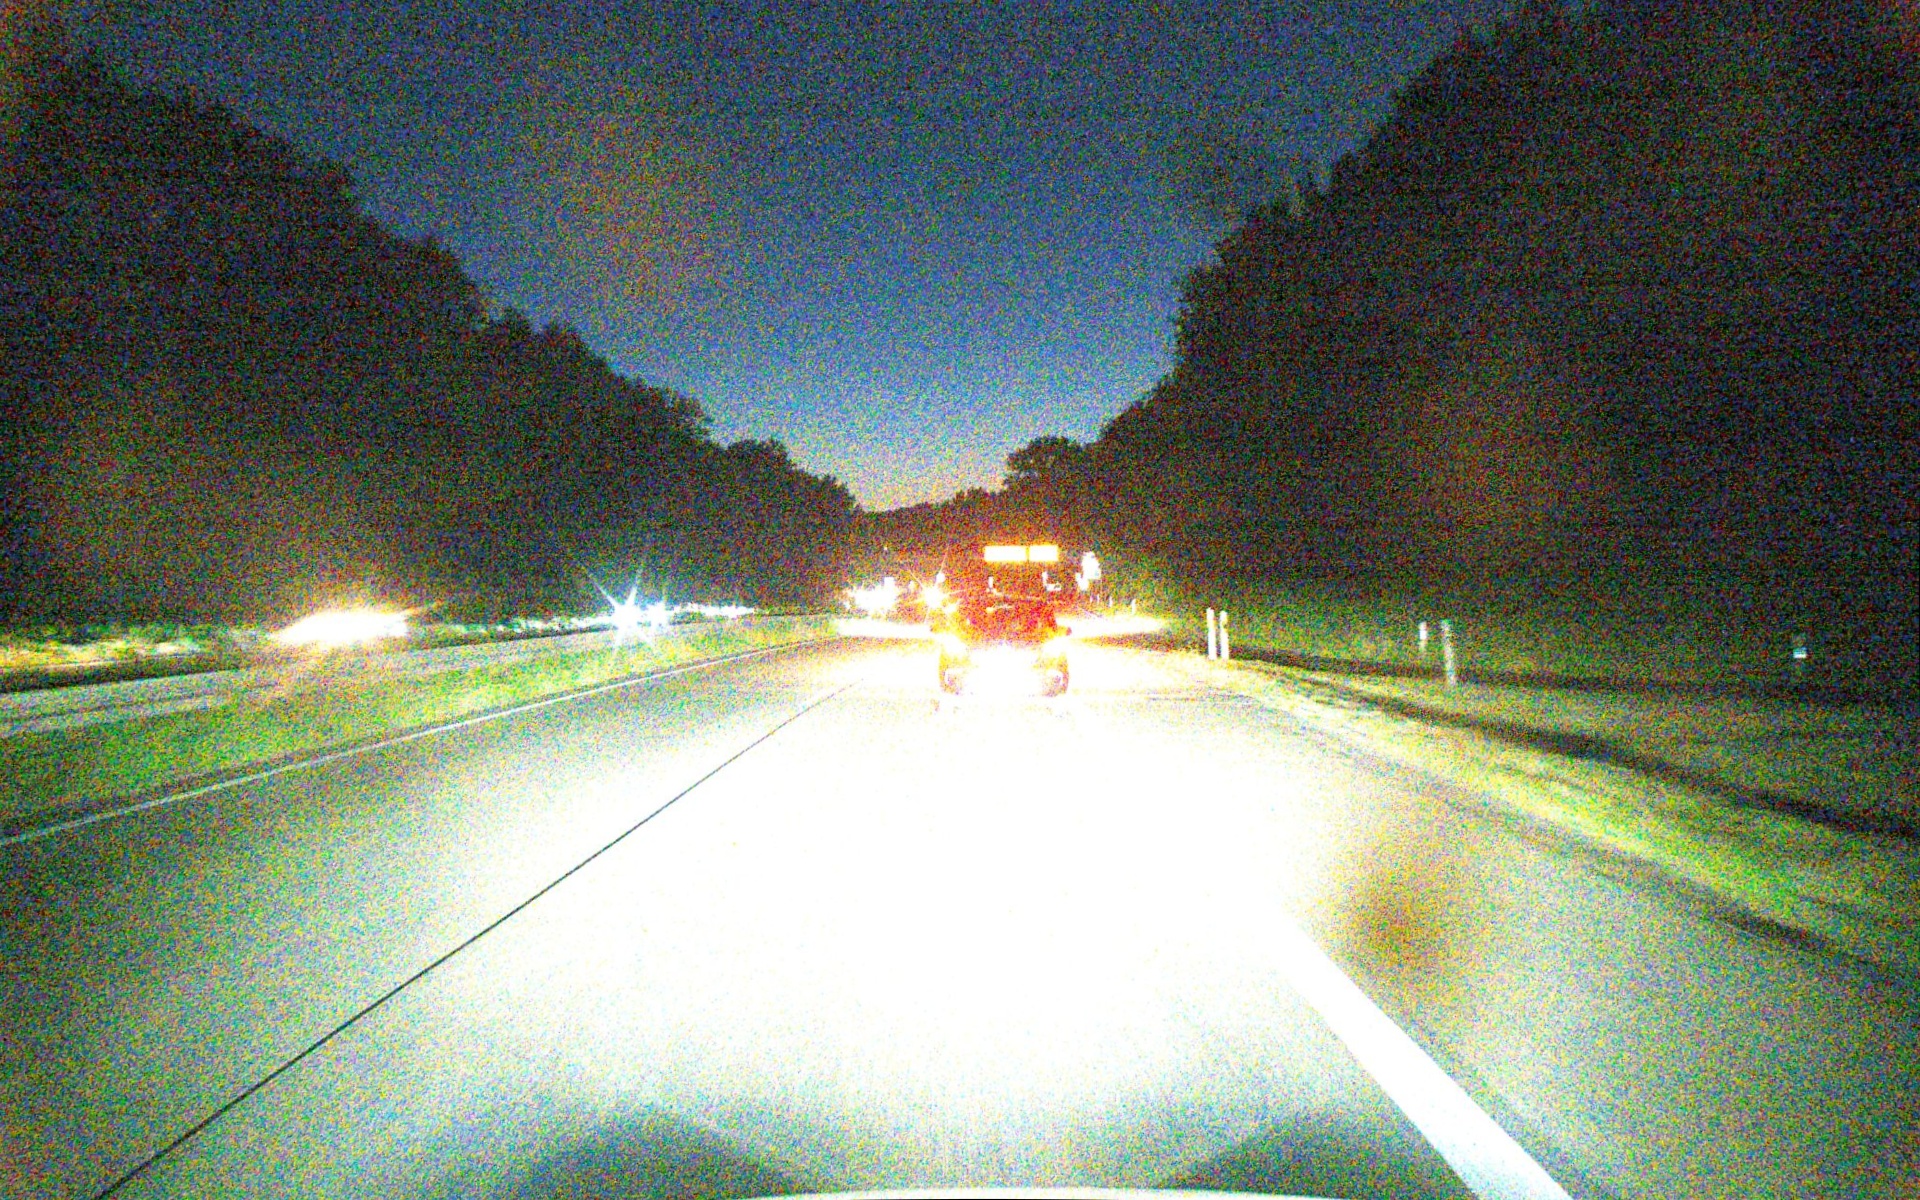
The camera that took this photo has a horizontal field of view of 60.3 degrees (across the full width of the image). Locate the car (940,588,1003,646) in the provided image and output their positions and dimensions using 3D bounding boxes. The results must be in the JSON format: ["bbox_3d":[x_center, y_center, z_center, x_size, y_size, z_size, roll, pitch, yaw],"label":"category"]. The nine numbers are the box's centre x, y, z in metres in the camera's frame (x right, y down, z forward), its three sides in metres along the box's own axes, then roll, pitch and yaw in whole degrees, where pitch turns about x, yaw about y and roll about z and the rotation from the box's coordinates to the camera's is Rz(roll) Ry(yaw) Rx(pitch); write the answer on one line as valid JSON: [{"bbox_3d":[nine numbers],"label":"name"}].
[{"bbox_3d":[0.366,0.496,51.285,1.867,1.728,4.001,0,1,1],"label":"car"}]

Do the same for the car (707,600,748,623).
[{"bbox_3d":[-14.730,0.718,104.928,1.734,1.436,4.845,1,0,2],"label":"car"}]

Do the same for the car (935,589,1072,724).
[{"bbox_3d":[0.554,0.654,21.316,1.555,1.534,4.001,2,0,1],"label":"car"}]

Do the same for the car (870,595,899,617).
[{"bbox_3d":[-6.483,0.483,142.676,1.917,1.764,5.082,-2,0,4],"label":"car"}]

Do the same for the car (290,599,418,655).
[{"bbox_3d":[-17.557,0.746,48.115,1.917,1.482,4.172,-2,0,4],"label":"car"}]

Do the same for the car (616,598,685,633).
[{"bbox_3d":[-13.852,0.664,74.246,1.916,1.482,4.474,-2,0,5],"label":"car"}]
